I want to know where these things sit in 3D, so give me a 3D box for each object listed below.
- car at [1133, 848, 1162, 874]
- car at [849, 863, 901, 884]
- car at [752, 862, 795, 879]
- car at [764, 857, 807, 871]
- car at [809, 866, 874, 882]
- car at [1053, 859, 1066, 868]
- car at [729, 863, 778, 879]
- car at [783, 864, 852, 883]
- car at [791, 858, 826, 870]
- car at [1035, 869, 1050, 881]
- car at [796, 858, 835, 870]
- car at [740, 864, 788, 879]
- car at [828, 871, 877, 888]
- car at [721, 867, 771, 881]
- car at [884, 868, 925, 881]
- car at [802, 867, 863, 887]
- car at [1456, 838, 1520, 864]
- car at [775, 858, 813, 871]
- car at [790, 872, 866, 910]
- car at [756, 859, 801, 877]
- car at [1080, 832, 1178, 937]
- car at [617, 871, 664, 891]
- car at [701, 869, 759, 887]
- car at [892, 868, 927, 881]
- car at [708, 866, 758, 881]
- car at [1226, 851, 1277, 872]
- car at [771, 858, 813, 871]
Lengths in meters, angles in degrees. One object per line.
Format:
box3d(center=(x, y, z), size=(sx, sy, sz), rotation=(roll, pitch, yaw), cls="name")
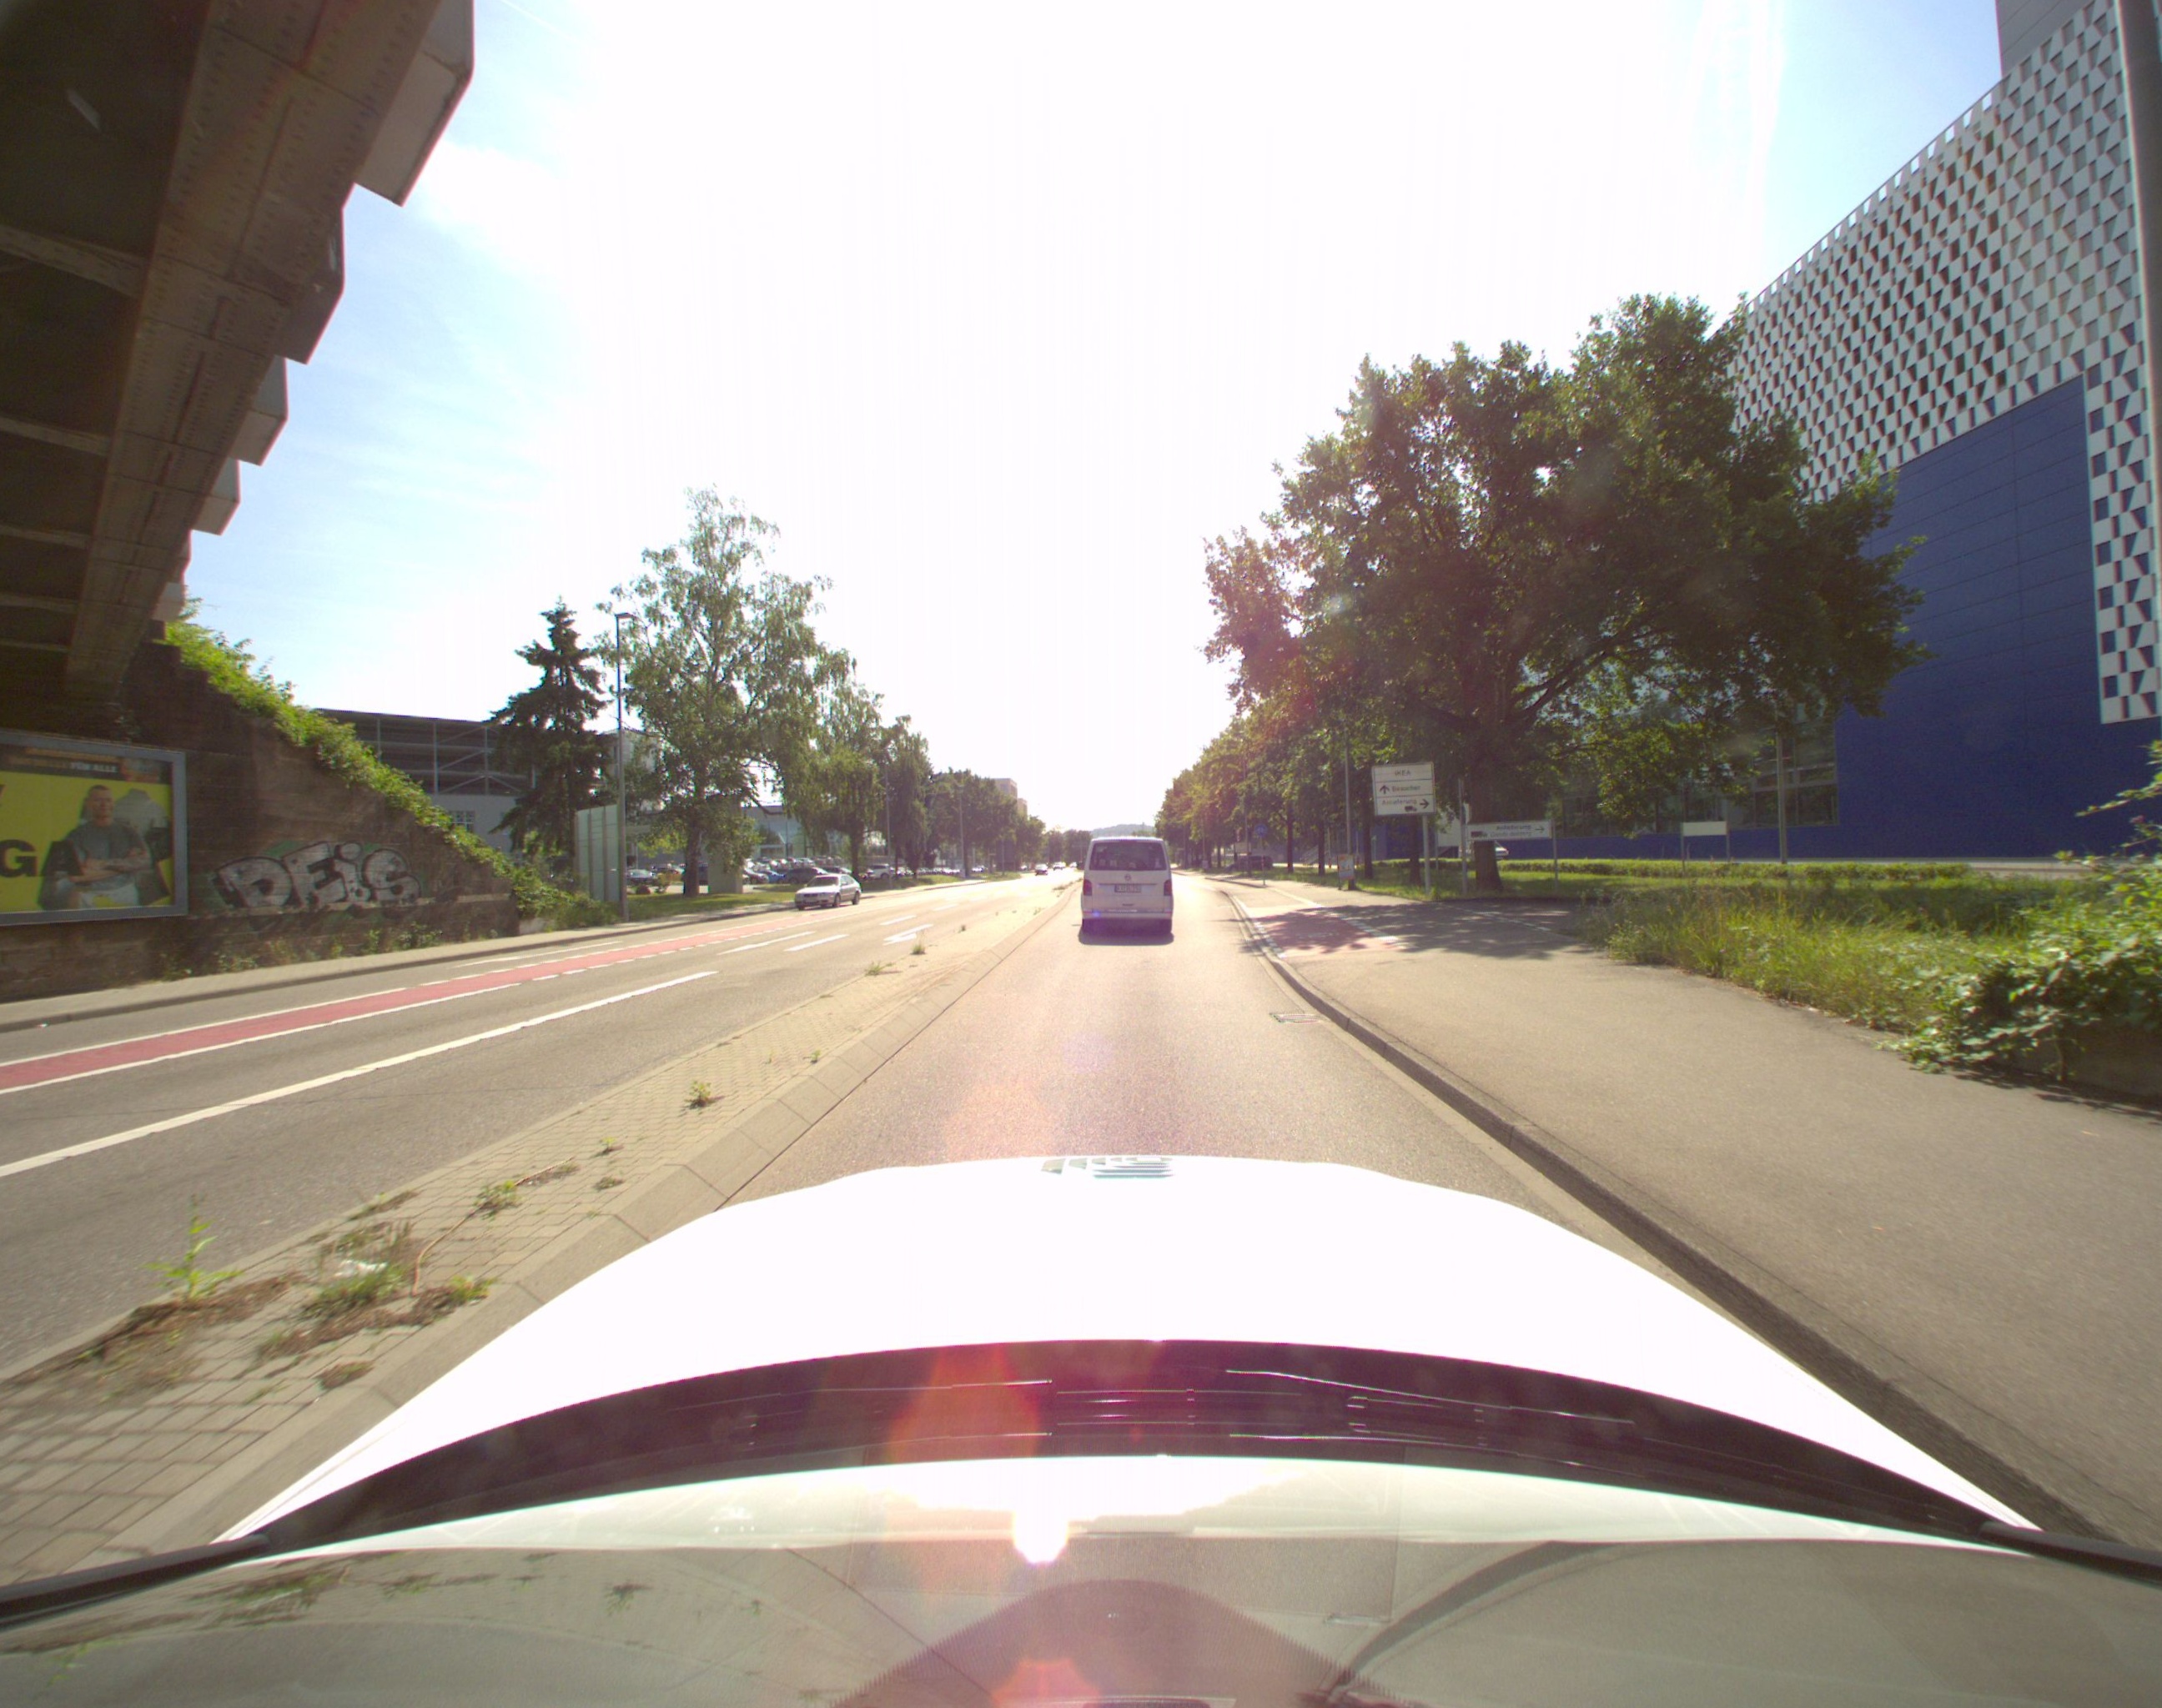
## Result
box3d(center=(5.215, 0.575, 64.562), size=(1.960, 1.968, 5.126), rotation=(-1, -1, 1), cls="car")
box3d(center=(-19.982, 1.876, 78.992), size=(4.444, 1.875, 2.002), rotation=(-1, -1, 3), cls="car")
box3d(center=(-35.372, 1.887, 93.733), size=(4.254, 1.705, 1.664), rotation=(-2, -1, 0), cls="car")
box3d(center=(-35.857, 1.227, 98.916), size=(4.485, 1.551, 1.979), rotation=(-2, -1, 0), cls="car")
box3d(center=(-20.256, 1.722, 69.075), size=(4.833, 1.268, 2.001), rotation=(-1, -1, 1), cls="car")
box3d(center=(-4.329, 1.885, 161.743), size=(1.983, 1.618, 4.111), rotation=(-3, -1, 6), cls="car")
box3d(center=(-35.506, 1.829, 88.422), size=(4.485, 1.485, 1.979), rotation=(-2, -1, 0), cls="car")
box3d(center=(-20.369, 1.524, 63.162), size=(4.669, 1.389, 2.001), rotation=(-1, -1, 1), cls="car")
box3d(center=(-35.505, 1.339, 106.258), size=(3.972, 1.496, 1.668), rotation=(-1, -1, 1), cls="car")
box3d(center=(-5.203, 2.825, 110.160), size=(1.691, 1.519, 4.029), rotation=(-4, -1, 2), cls="car")
box3d(center=(-35.410, 1.362, 108.618), size=(4.502, 1.496, 1.987), rotation=(-1, -1, 1), cls="car")
box3d(center=(-35.362, 1.994, 90.897), size=(4.485, 1.485, 1.979), rotation=(-2, -1, 0), cls="car")
box3d(center=(-19.944, 2.204, 71.205), size=(3.666, 1.371, 1.817), rotation=(-1, -1, 2), cls="car")
box3d(center=(-35.438, 2.096, 86.187), size=(4.485, 1.419, 1.890), rotation=(-1, -1, 0), cls="car")
box3d(center=(-18.092, 2.063, 83.449), size=(3.779, 1.285, 1.744), rotation=(-1, -1, 0), cls="car")
box3d(center=(-19.948, 1.841, 65.452), size=(4.198, 1.546, 2.001), rotation=(-1, -1, 1), cls="car")
box3d(center=(26.969, -0.169, 54.129), size=(1.847, 1.639, 4.297), rotation=(-1, -1, -4), cls="car")
box3d(center=(-36.050, 1.316, 102.223), size=(3.972, 1.496, 2.052), rotation=(-1, -1, 1), cls="car")
box3d(center=(-10.651, 1.508, 34.617), size=(1.629, 1.388, 4.321), rotation=(-3, -1, 2), cls="car")
box3d(center=(-35.746, 1.682, 96.264), size=(4.485, 1.962, 1.979), rotation=(-2, -1, 0), cls="car")
box3d(center=(1.006, 0.608, 17.714), size=(1.877, 1.990, 4.002), rotation=(-1, -1, 2), cls="car")
box3d(center=(-36.682, 2.246, 67.775), size=(3.984, 1.546, 1.672), rotation=(-1, -1, 32), cls="car")
box3d(center=(-30.725, 2.097, 71.313), size=(4.228, 1.564, 1.805), rotation=(-1, -1, 0), cls="car")
box3d(center=(-19.991, 2.369, 95.218), size=(3.582, 1.285, 1.865), rotation=(-4, -1, 0), cls="car")
box3d(center=(-35.530, 1.984, 83.133), size=(4.190, 1.476, 1.999), rotation=(-1, -1, -2), cls="car")
box3d(center=(15.654, 0.695, 74.893), size=(4.418, 1.694, 1.849), rotation=(-3, -1, 9), cls="car")
box3d(center=(-35.804, 1.292, 101.066), size=(4.485, 1.485, 1.979), rotation=(-2, -1, 0), cls="car")
